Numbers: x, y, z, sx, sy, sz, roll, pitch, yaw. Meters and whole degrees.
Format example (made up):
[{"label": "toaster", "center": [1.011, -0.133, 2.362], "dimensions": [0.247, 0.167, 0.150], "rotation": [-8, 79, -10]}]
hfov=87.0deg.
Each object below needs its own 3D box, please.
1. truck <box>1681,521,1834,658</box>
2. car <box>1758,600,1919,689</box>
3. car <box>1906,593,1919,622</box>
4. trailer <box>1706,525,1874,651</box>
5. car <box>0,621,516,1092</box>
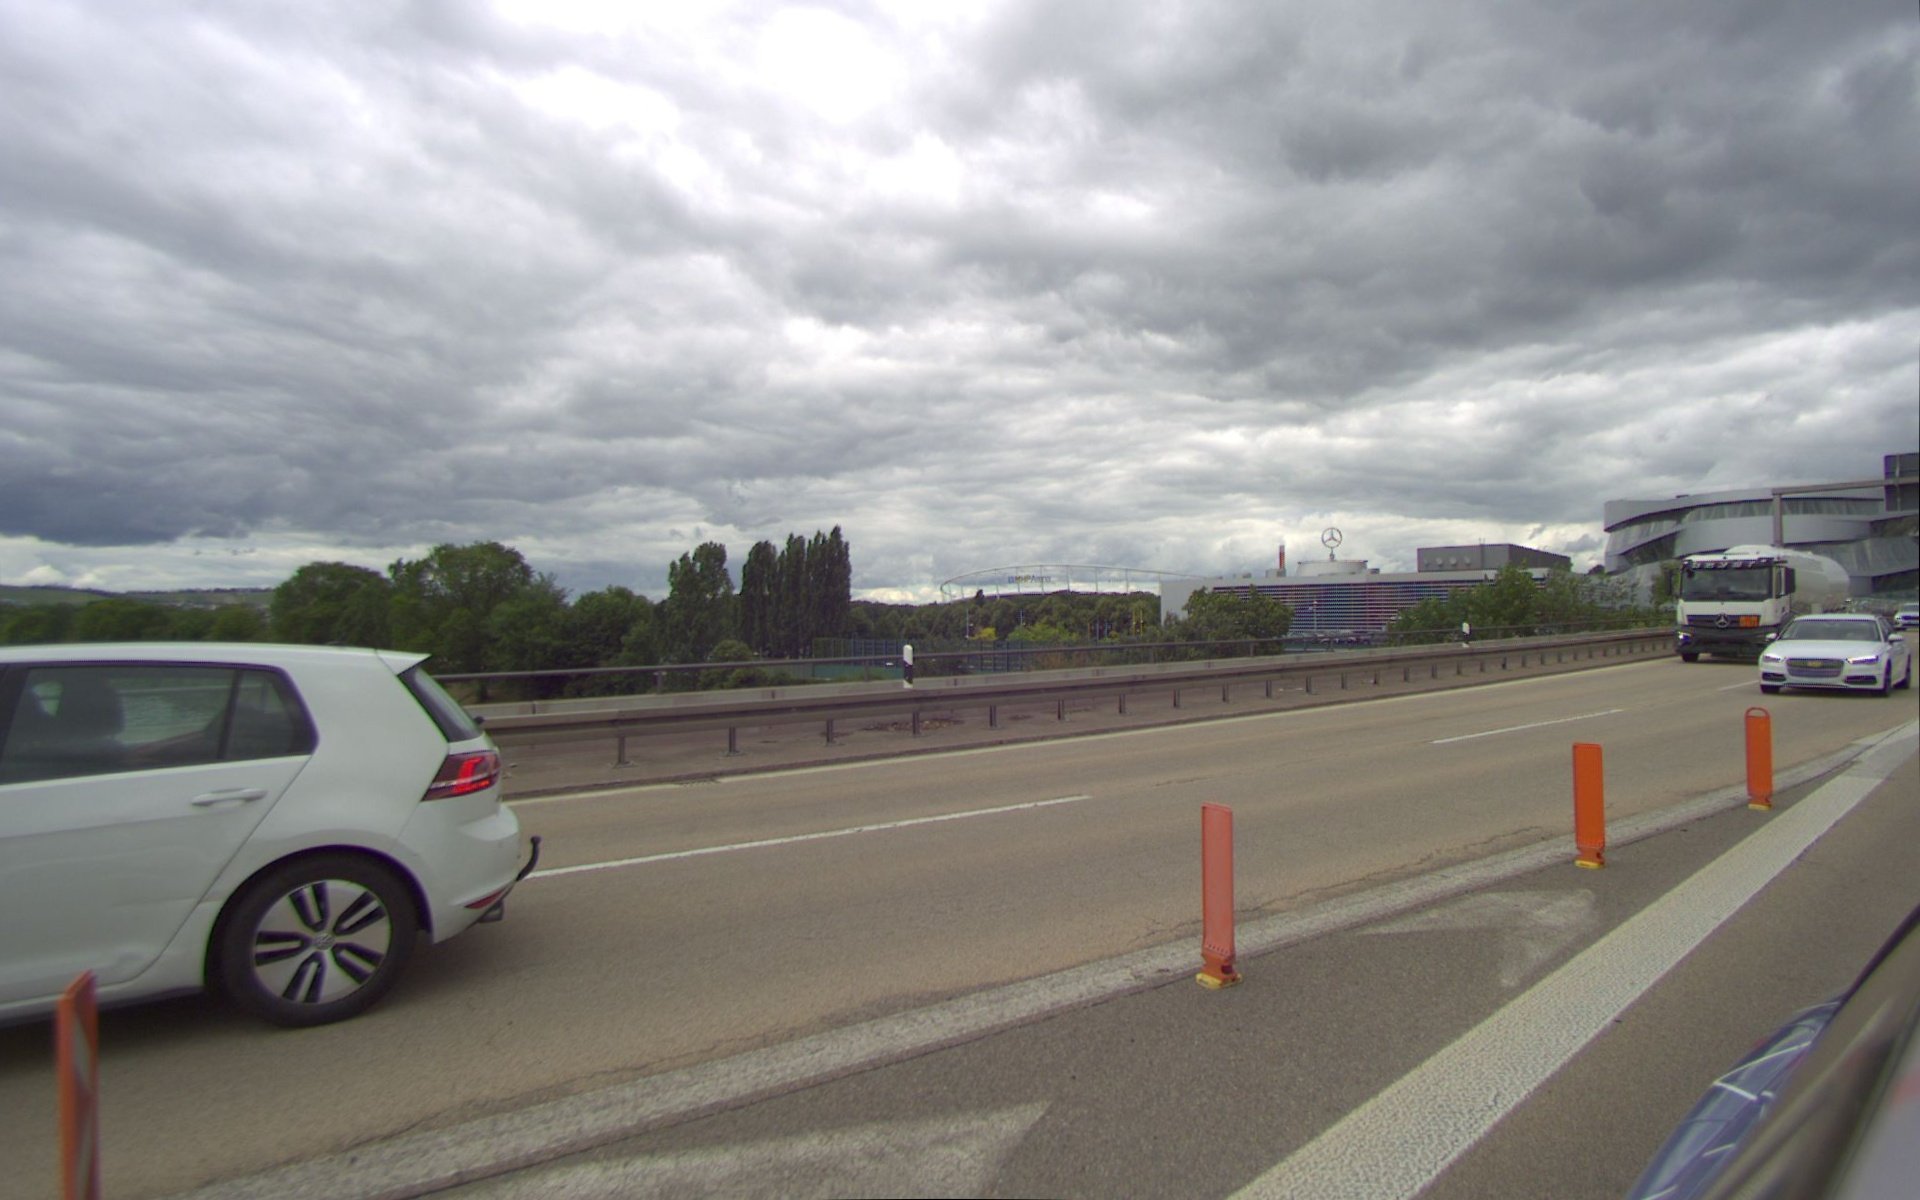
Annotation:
[{"label": "truck", "center": [22.793, -0.289, 28.876], "dimensions": [4.819, 3.558, 2.635], "rotation": [0, 0, -42]}, {"label": "car", "center": [16.403, 0.797, 18.634], "dimensions": [3.861, 1.471, 1.847], "rotation": [1, -3, -39]}, {"label": "car", "center": [55.532, 0.448, 57.863], "dimensions": [3.564, 1.654, 1.784], "rotation": [0, 0, -41]}, {"label": "trailer", "center": [27.757, -0.331, 33.577], "dimensions": [11.026, 3.588, 2.654], "rotation": [0, 0, -42]}, {"label": "car", "center": [-3.903, 0.835, 3.706], "dimensions": [3.991, 1.470, 1.761], "rotation": [0, -2, -31]}]
